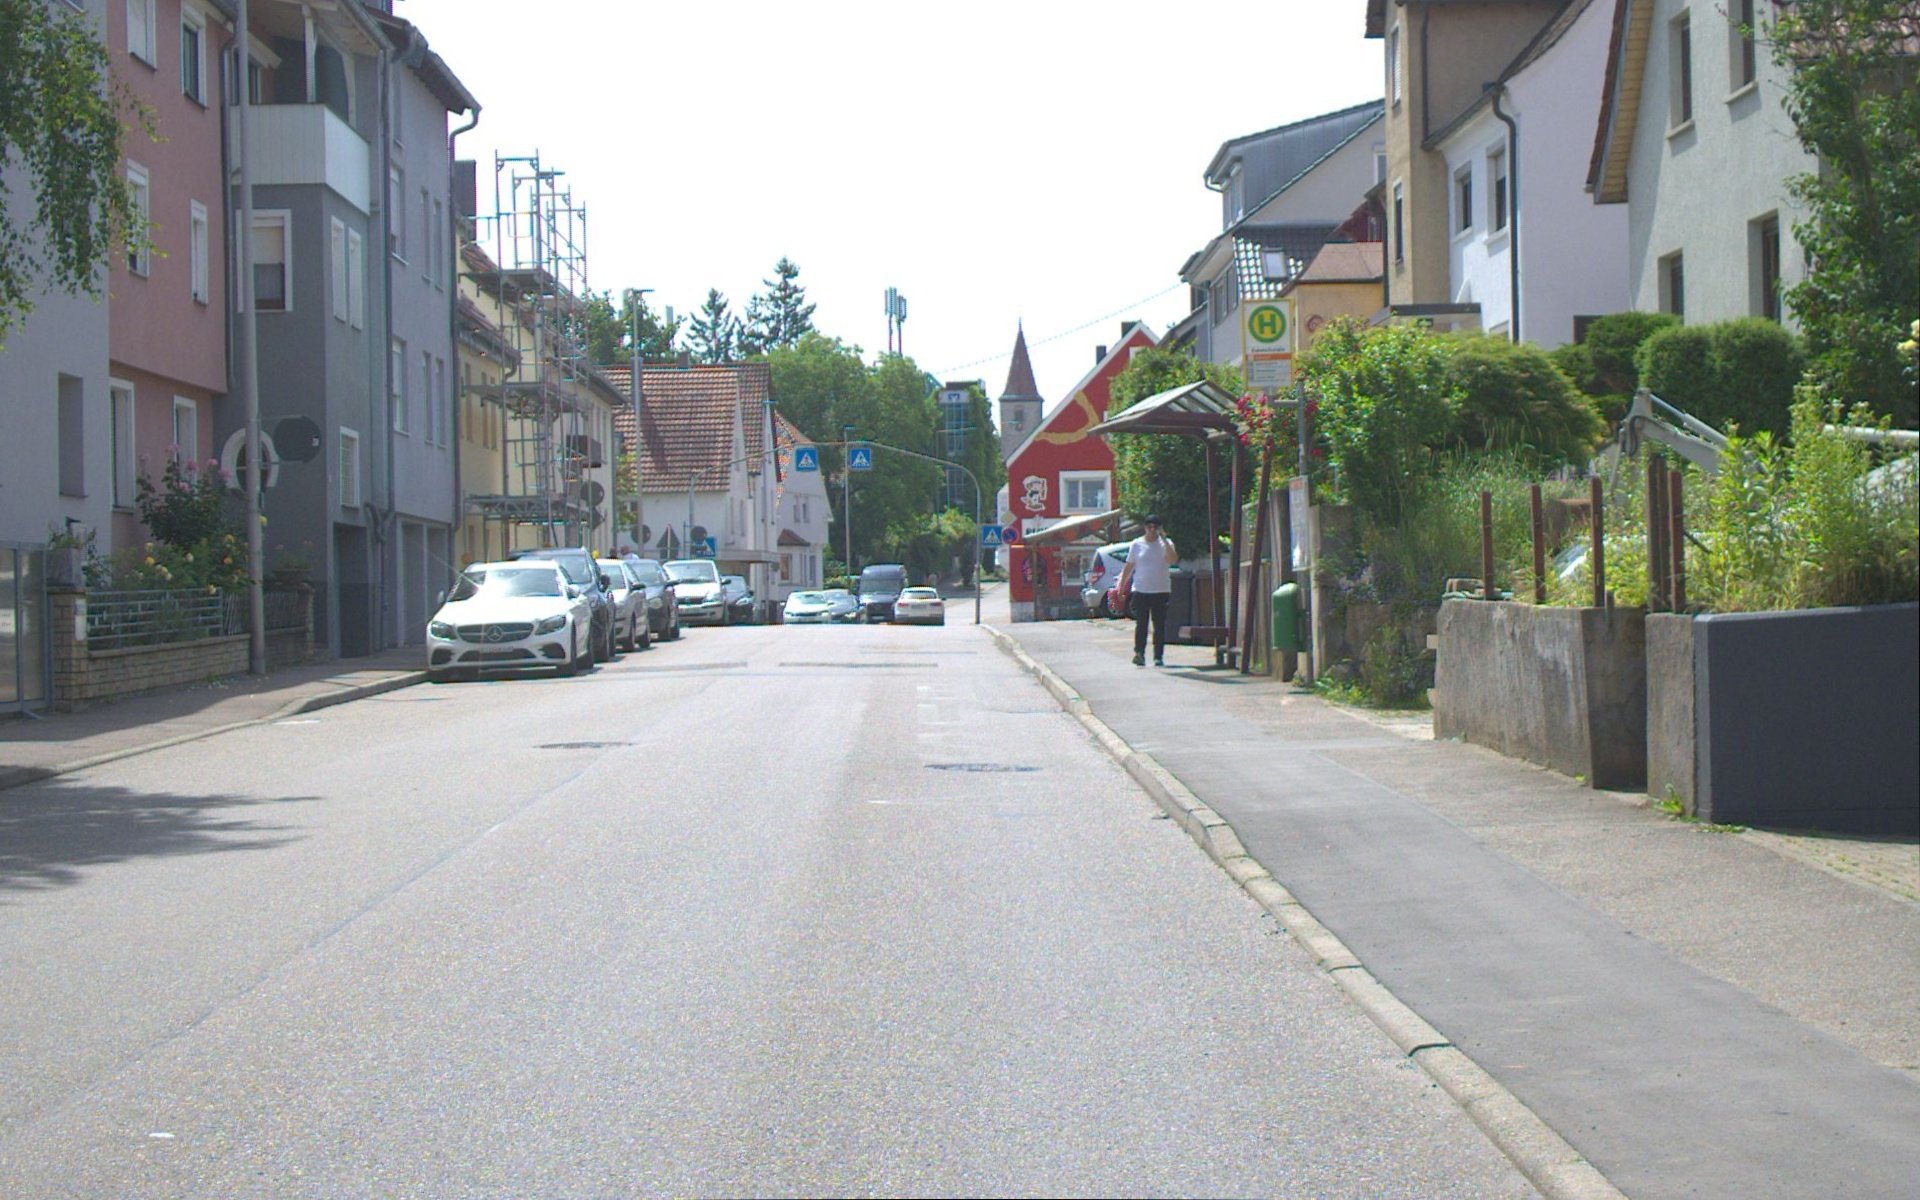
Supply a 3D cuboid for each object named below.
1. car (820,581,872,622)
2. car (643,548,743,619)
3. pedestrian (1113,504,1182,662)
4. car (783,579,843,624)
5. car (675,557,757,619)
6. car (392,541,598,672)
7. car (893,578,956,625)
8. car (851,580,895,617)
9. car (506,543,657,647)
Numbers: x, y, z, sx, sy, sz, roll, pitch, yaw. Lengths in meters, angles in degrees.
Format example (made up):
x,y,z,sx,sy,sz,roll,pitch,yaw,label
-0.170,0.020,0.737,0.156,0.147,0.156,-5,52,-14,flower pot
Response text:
x,y,z,sx,sy,sz,roll,pitch,yaw,label
-4.414,0.051,134.049,1.840,1.459,4.000,-2,1,0,car
-6.160,-0.406,79.730,1.993,1.555,4.314,-1,1,-1,car
2.103,-0.199,38.616,0.646,1.724,0.608,-3,1,0,pedestrian
-5.223,0.051,122.223,1.840,1.459,4.000,-2,1,1,car
-6.551,-0.345,92.681,1.993,1.555,4.314,-1,1,-1,car
-5.921,0.039,44.241,2.110,1.555,4.314,-1,1,-1,car
-1.291,0.040,123.015,1.993,1.555,4.314,-1,1,-4,car
-3.745,-0.063,148.713,1.840,1.459,4.000,-2,1,-1,car
-6.022,-0.111,55.173,1.993,1.555,4.314,-1,1,-1,car
